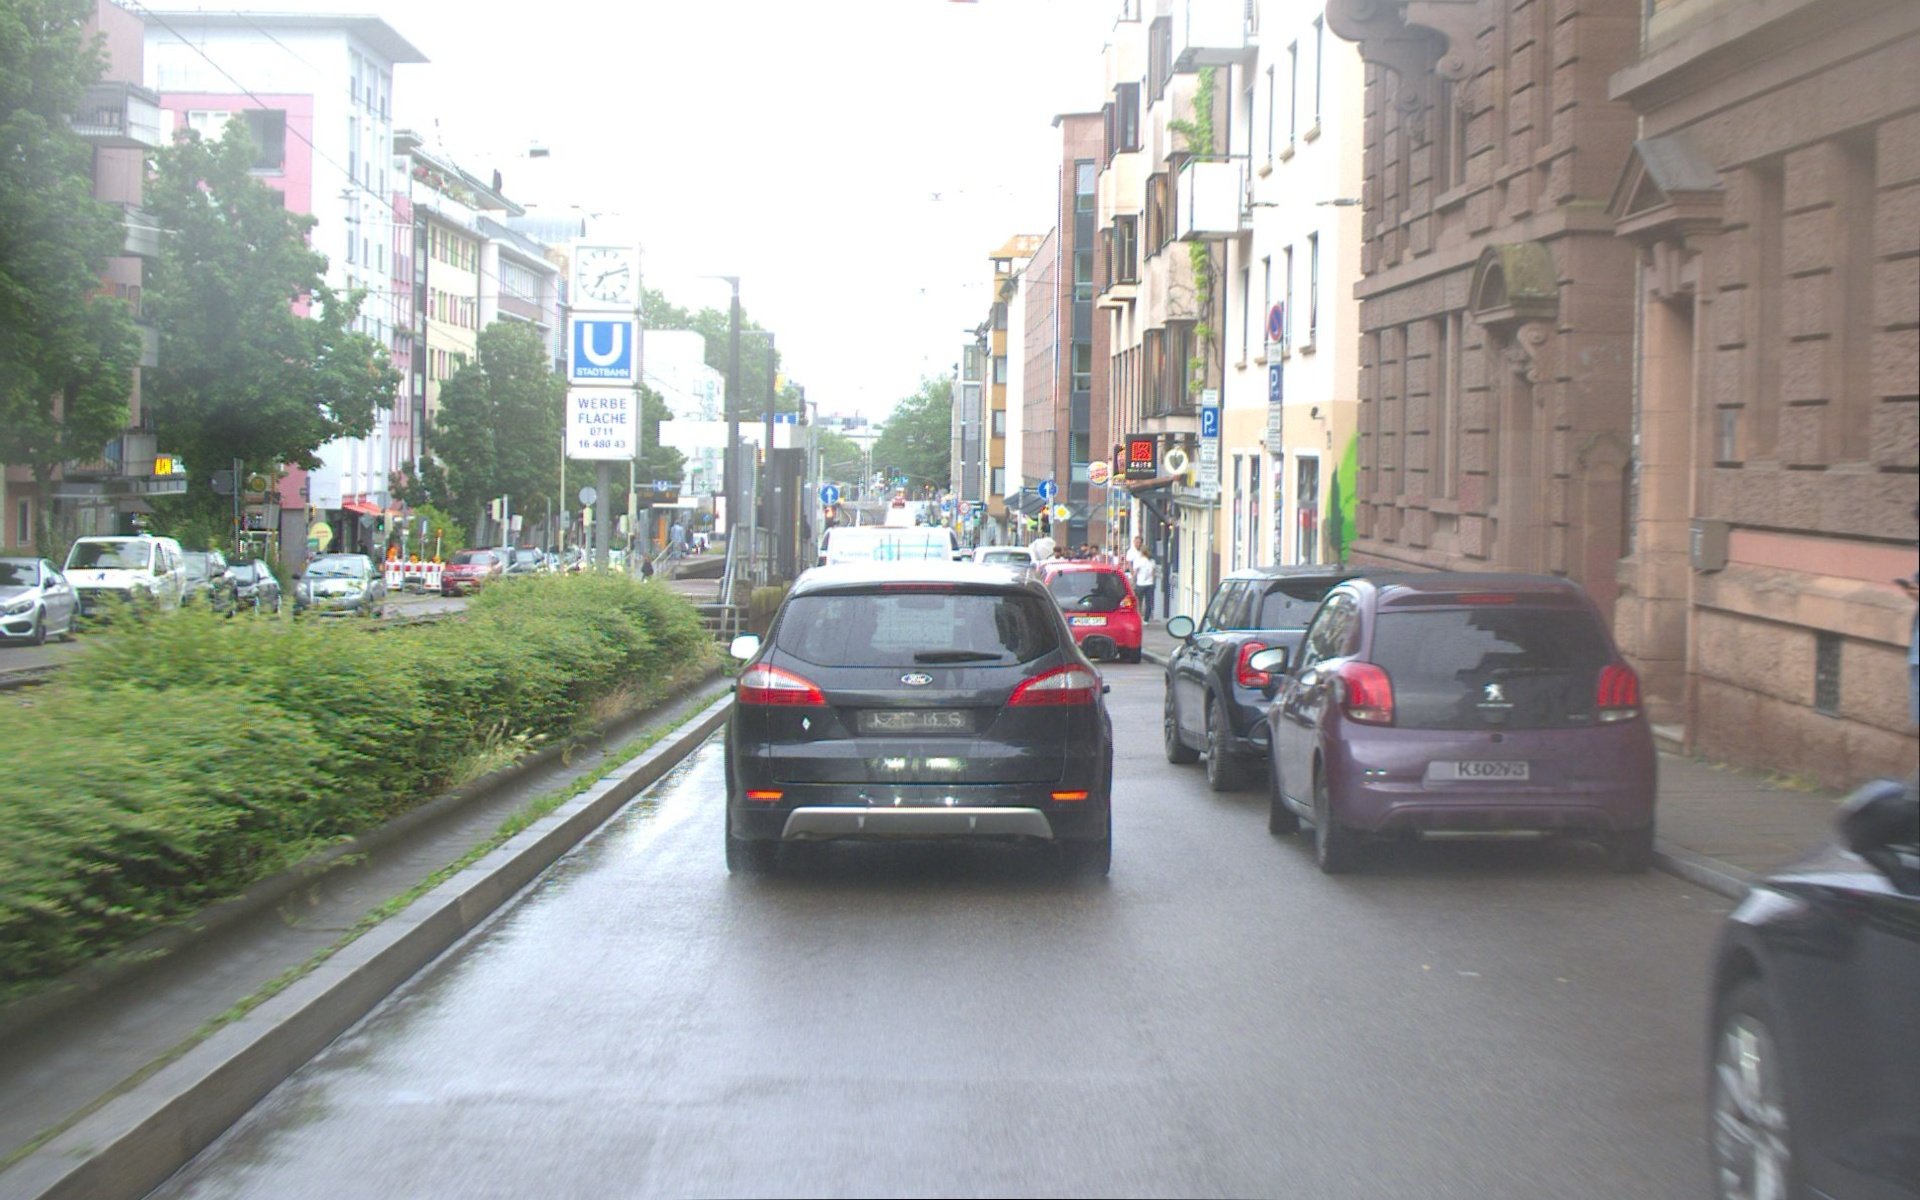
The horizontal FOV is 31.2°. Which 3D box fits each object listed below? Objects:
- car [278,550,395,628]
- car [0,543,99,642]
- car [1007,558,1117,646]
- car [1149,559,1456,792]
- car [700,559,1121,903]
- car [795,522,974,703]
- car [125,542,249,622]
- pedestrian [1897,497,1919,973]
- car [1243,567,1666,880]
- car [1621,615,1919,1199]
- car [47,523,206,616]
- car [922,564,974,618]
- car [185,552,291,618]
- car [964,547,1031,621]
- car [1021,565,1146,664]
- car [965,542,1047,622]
[{"bbox_3d":[-13.752,-0.223,76.040,1.855,1.631,4.046,1,-1,-1],"label":"car"},{"bbox_3d":[-15.421,-0.113,56.206,1.668,1.553,4.046,1,-1,-1],"label":"car"},{"bbox_3d":[1.677,0.018,57.619,1.670,1.416,3.476,0,0,-1],"label":"car"},{"bbox_3d":[2.254,0.459,23.463,1.577,1.455,3.821,0,0,-2],"label":"car"},{"bbox_3d":[-0.316,0.565,17.061,1.842,1.502,4.000,0,0,-3],"label":"car"},{"bbox_3d":[-0.862,0.091,41.838,1.988,2.053,4.645,1,1,1],"label":"car"},{"bbox_3d":[-16.179,-0.347,72.101,1.695,1.568,4.046,1,-1,-1],"label":"car"},{"bbox_3d":[3.992,0.518,12.782,0.703,1.813,0.961,-2,2,-1],"label":"pedestrian"},{"bbox_3d":[2.452,0.566,17.799,1.649,1.455,3.476,0,0,-1],"label":"car"},{"bbox_3d":[2.488,0.741,5.646,1.791,1.402,4.257,1,0,-3],"label":"car"},{"bbox_3d":[-15.862,-0.556,65.682,1.855,1.631,4.935,1,-1,-1],"label":"car"},{"bbox_3d":[-0.506,-0.352,139.286,1.993,2.007,4.000,3,-1,0],"label":"car"},{"bbox_3d":[-16.319,-0.326,77.835,1.550,1.390,4.046,1,-1,-1],"label":"car"},{"bbox_3d":[0.954,-0.400,89.531,1.591,1.775,3.779,3,-1,0],"label":"car"},{"bbox_3d":[1.805,0.199,51.078,1.670,1.416,3.476,0,0,-1],"label":"car"},{"bbox_3d":[1.100,-0.425,83.683,1.839,1.775,3.779,3,-1,0],"label":"car"}]
